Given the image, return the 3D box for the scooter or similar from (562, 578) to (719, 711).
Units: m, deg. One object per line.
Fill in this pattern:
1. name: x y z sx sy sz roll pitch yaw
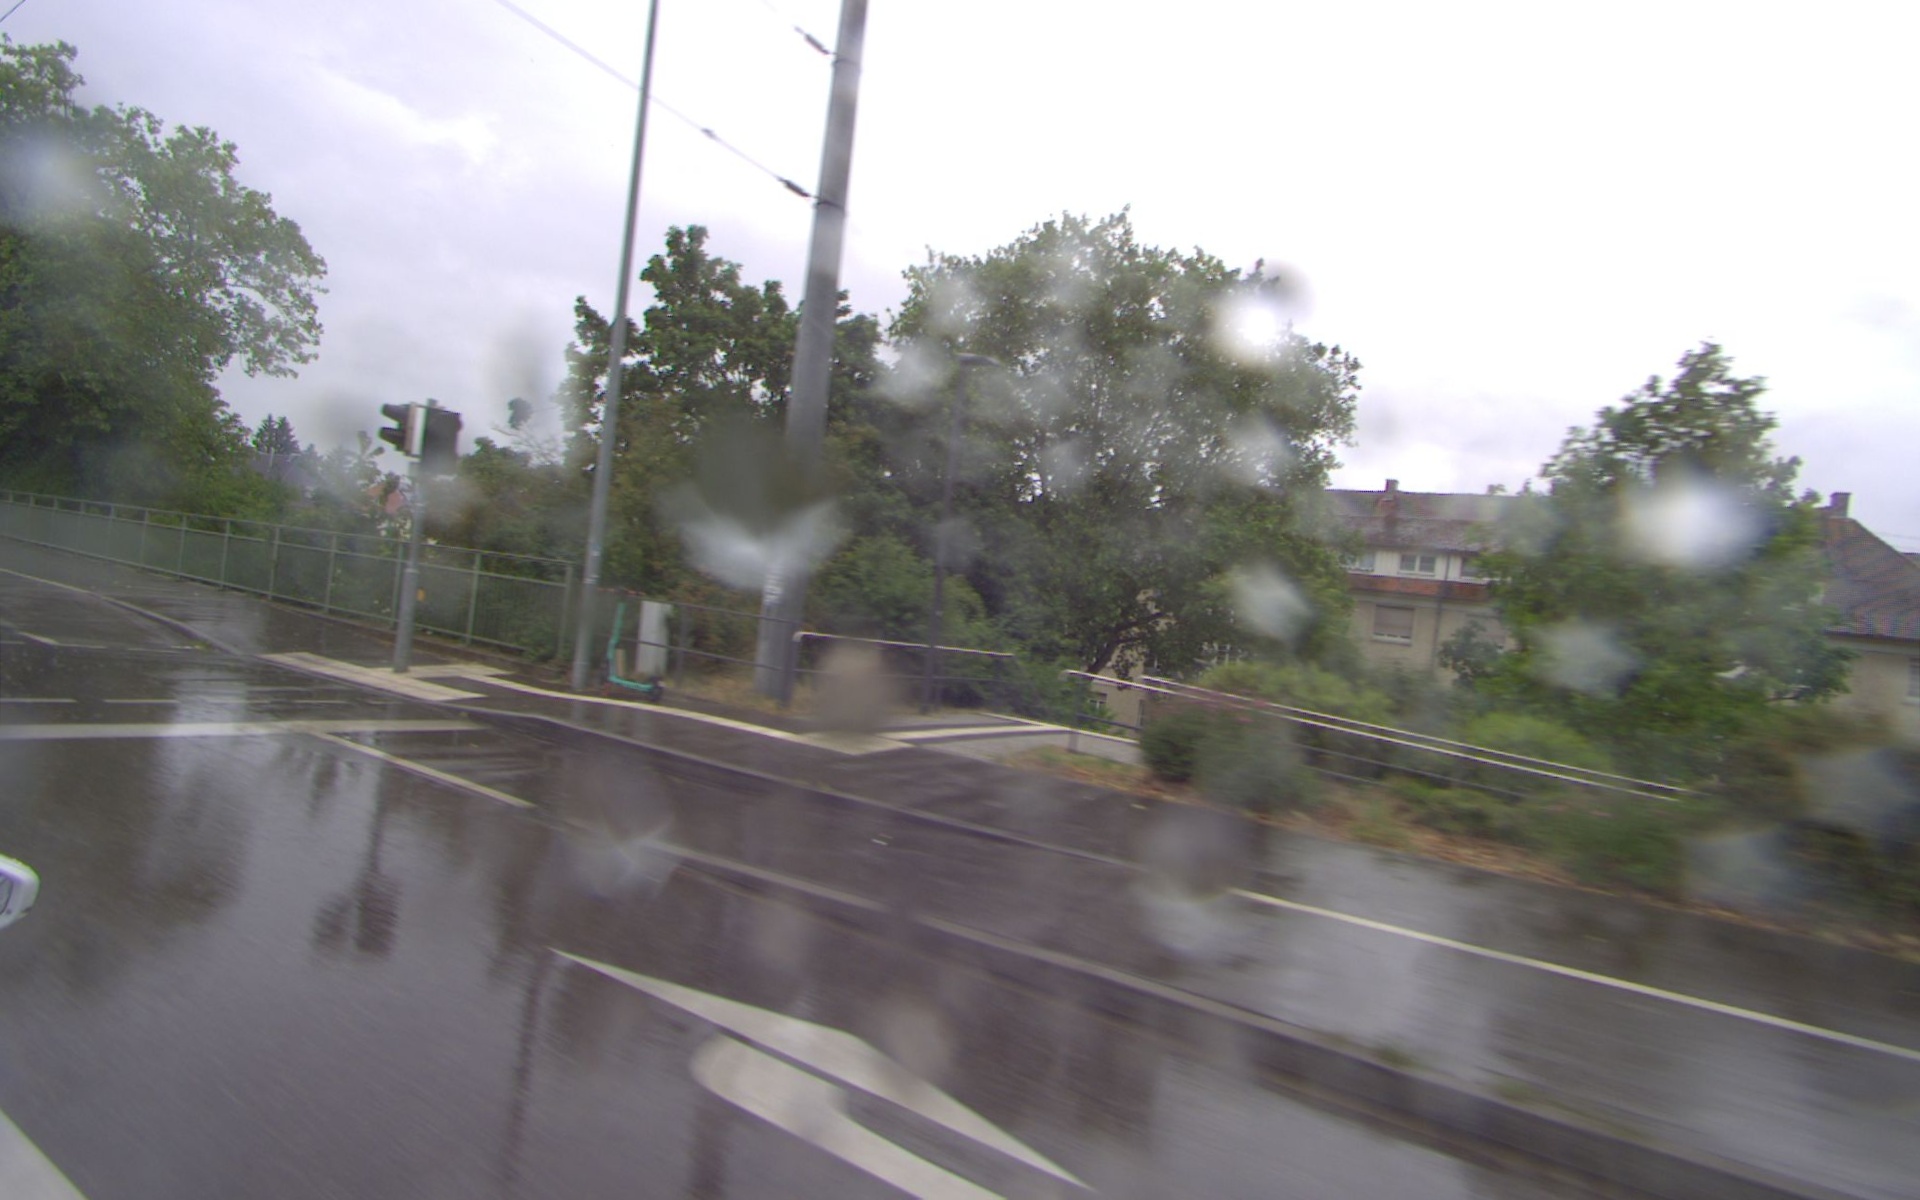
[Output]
1. scooter or similar: -3.681 0.506 11.565 1.621 1.308 0.760 6 -1 34
